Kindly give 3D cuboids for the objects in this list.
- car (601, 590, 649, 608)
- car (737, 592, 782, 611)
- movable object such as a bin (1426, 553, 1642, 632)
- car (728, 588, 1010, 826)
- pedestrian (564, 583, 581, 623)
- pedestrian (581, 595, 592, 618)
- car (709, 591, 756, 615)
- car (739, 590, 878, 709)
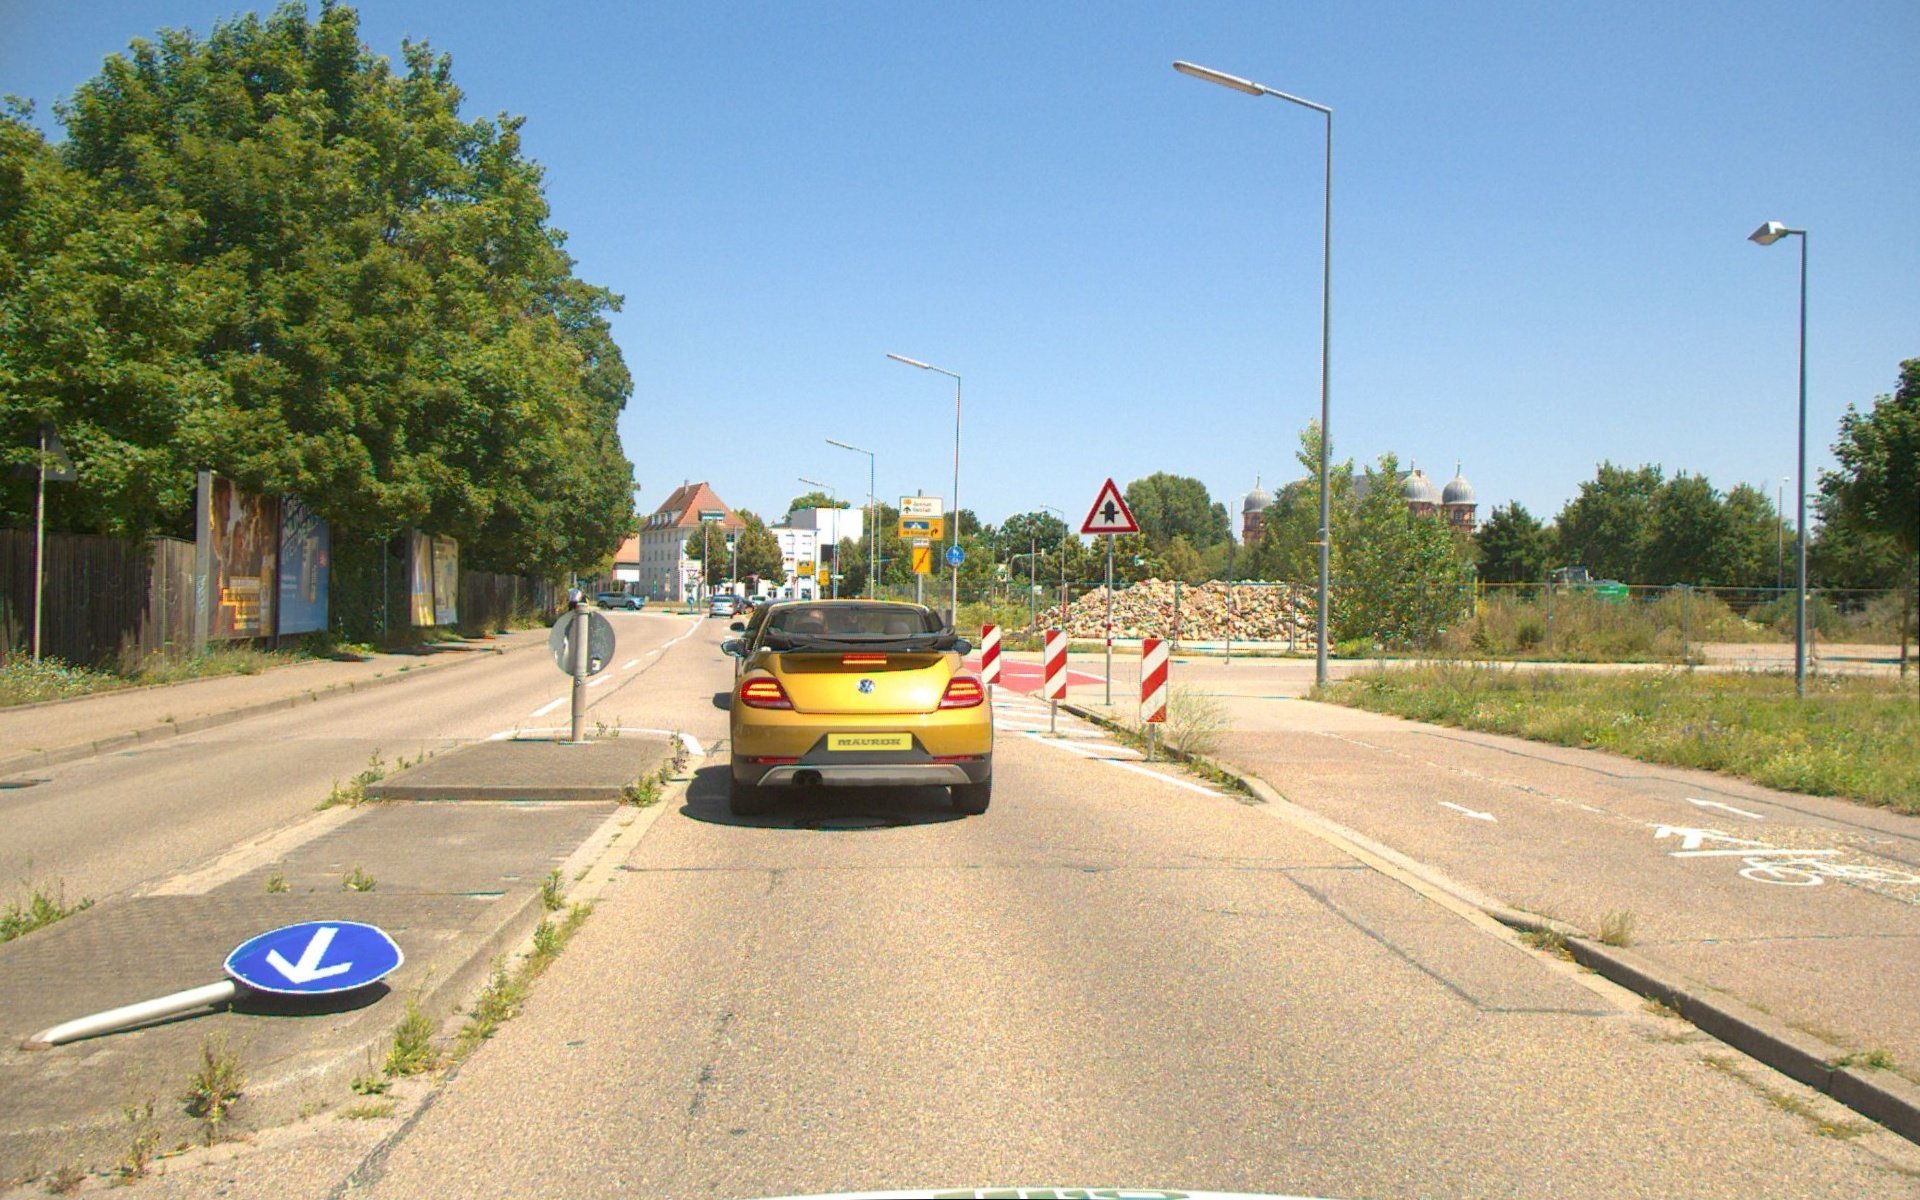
[{"bbox_3d":[-30.295,-0.090,149.645,3.906,1.580,1.992,2,0,-2],"label":"car"},{"bbox_3d":[-18.161,0.110,149.961,3.906,1.709,2.259,0,0,-1],"label":"car"},{"bbox_3d":[25.669,-0.300,74.869,4.849,3.317,10.444,0,0,-10],"label":"movable object such as a bin"},{"bbox_3d":[-0.749,0.649,12.194,1.755,1.462,3.809,0,0,-6],"label":"car"},{"bbox_3d":[-16.968,0.128,72.481,0.710,1.755,0.815,0,0,-13],"label":"pedestrian"},{"bbox_3d":[-24.993,0.438,110.683,0.710,1.480,0.815,0,0,-13],"label":"pedestrian"},{"bbox_3d":[-19.962,0.240,145.232,3.905,2.049,2.000,0,0,0],"label":"car"},{"bbox_3d":[-2.138,0.608,22.447,1.694,1.468,3.993,0,0,-8],"label":"car"}]
